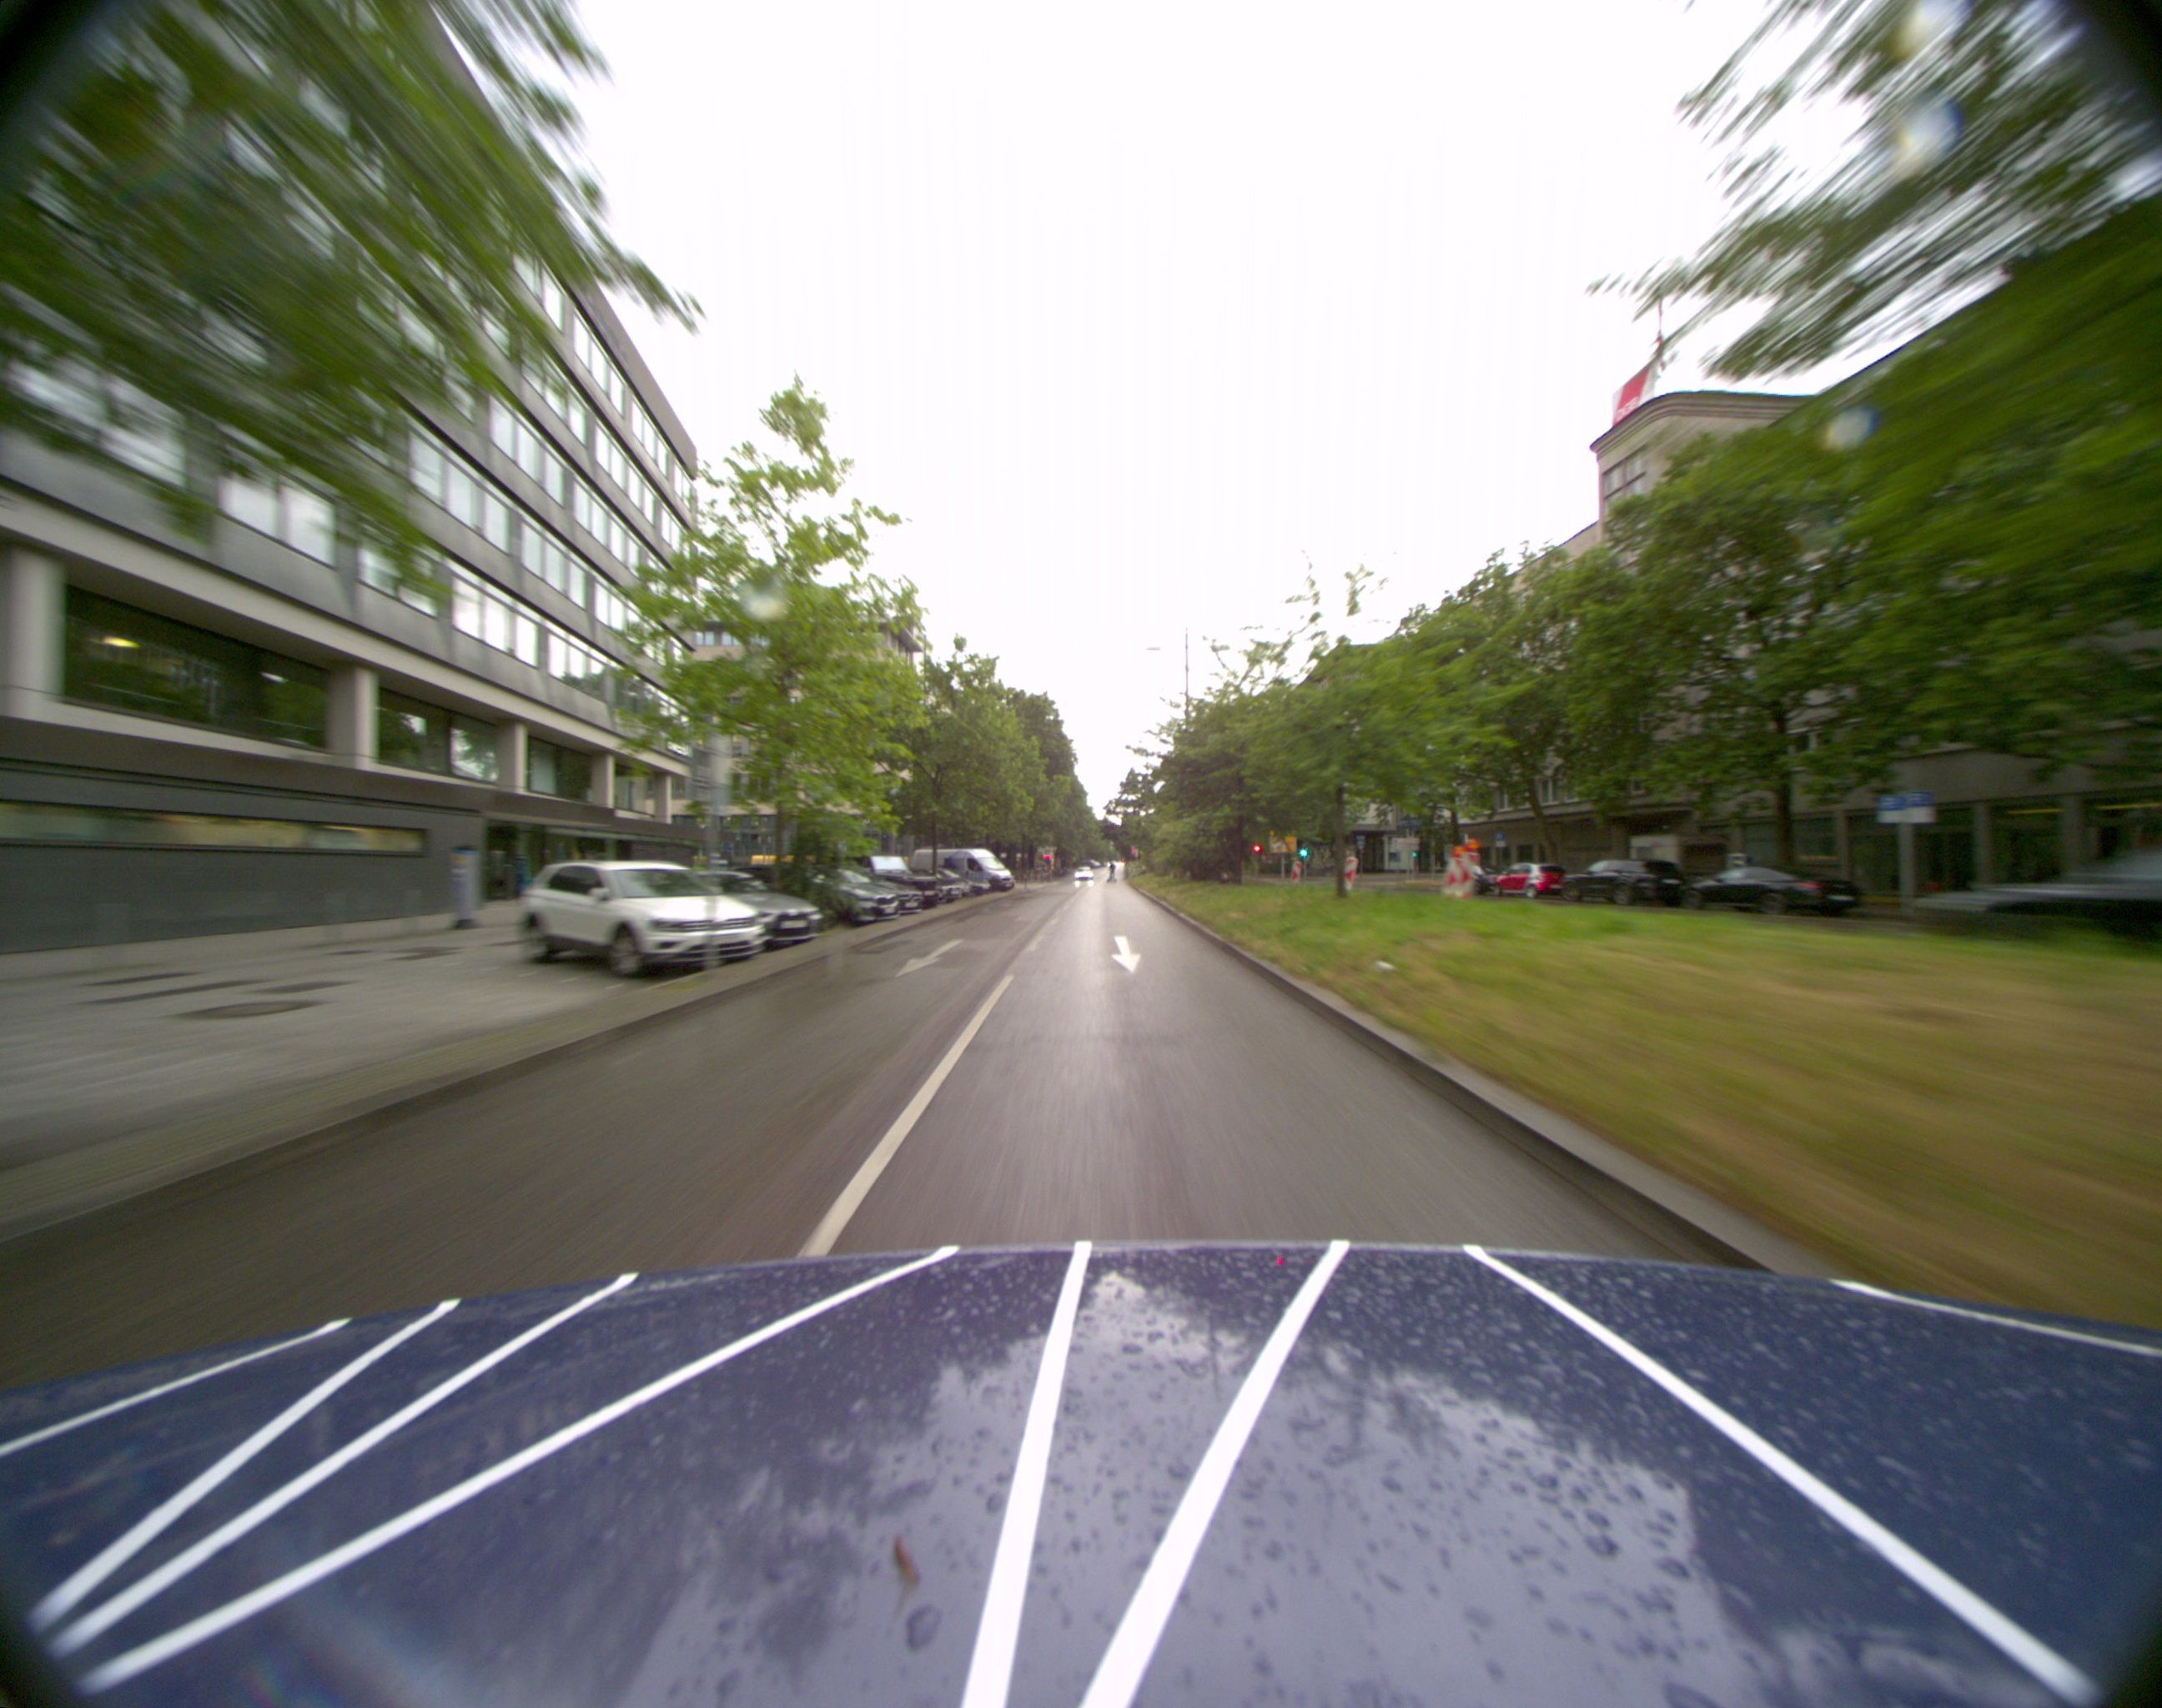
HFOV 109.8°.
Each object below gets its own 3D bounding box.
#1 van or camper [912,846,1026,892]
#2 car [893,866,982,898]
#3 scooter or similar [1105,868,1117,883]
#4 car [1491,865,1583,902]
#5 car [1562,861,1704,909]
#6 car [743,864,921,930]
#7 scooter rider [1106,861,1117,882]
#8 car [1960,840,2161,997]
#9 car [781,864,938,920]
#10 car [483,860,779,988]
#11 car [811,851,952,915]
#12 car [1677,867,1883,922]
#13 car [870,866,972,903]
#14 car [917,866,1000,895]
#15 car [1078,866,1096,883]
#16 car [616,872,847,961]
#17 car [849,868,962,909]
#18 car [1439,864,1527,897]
[{"bbox_3d":[-6.327,0.867,42.608,6.249,2.432,2.320,-1,0,31],"label":"van or camper"},{"bbox_3d":[-6.900,1.332,36.506,4.051,1.415,1.712,-1,0,30],"label":"car"},{"bbox_3d":[2.819,2.024,70.551,0.980,1.347,1.871,0,0,5],"label":"scooter or similar"},{"bbox_3d":[19.573,1.231,32.788,1.690,1.493,3.692,0,-1,-1],"label":"car"},{"bbox_3d":[19.980,1.074,27.789,1.866,1.612,4.467,0,-1,-1],"label":"car"},{"bbox_3d":[-6.525,1.067,19.825,4.346,1.528,1.920,-1,0,28],"label":"car"},{"bbox_3d":[2.811,1.608,70.399,0.980,1.892,1.023,0,0,5],"label":"scooter rider"},{"bbox_3d":[11.053,0.611,6.331,1.795,1.458,4.724,1,-1,-4],"label":"car"},{"bbox_3d":[-6.612,1.081,22.612,4.380,1.528,1.920,-1,0,28],"label":"car"},{"bbox_3d":[-7.106,0.954,11.853,4.791,1.640,1.920,-1,0,31],"label":"car"},{"bbox_3d":[-6.708,0.939,25.497,4.506,1.981,1.926,-1,0,30],"label":"car"},{"bbox_3d":[20.467,1.124,22.590,1.866,1.421,4.565,0,-1,-1],"label":"car"},{"bbox_3d":[-6.683,1.239,31.586,4.003,1.415,1.712,-1,0,30],"label":"car"},{"bbox_3d":[-6.288,1.357,38.939,4.051,1.415,1.712,-1,0,30],"label":"car"},{"bbox_3d":[0.644,2.253,83.577,1.790,1.736,4.575,0,-1,-1],"label":"car"},{"bbox_3d":[-6.980,1.124,15.019,4.710,1.465,1.920,-1,-1,33],"label":"car"},{"bbox_3d":[-6.676,1.267,28.756,4.051,1.415,1.740,-1,0,30],"label":"car"},{"bbox_3d":[19.638,1.258,37.345,1.790,1.478,4.575,0,-1,-1],"label":"car"}]
